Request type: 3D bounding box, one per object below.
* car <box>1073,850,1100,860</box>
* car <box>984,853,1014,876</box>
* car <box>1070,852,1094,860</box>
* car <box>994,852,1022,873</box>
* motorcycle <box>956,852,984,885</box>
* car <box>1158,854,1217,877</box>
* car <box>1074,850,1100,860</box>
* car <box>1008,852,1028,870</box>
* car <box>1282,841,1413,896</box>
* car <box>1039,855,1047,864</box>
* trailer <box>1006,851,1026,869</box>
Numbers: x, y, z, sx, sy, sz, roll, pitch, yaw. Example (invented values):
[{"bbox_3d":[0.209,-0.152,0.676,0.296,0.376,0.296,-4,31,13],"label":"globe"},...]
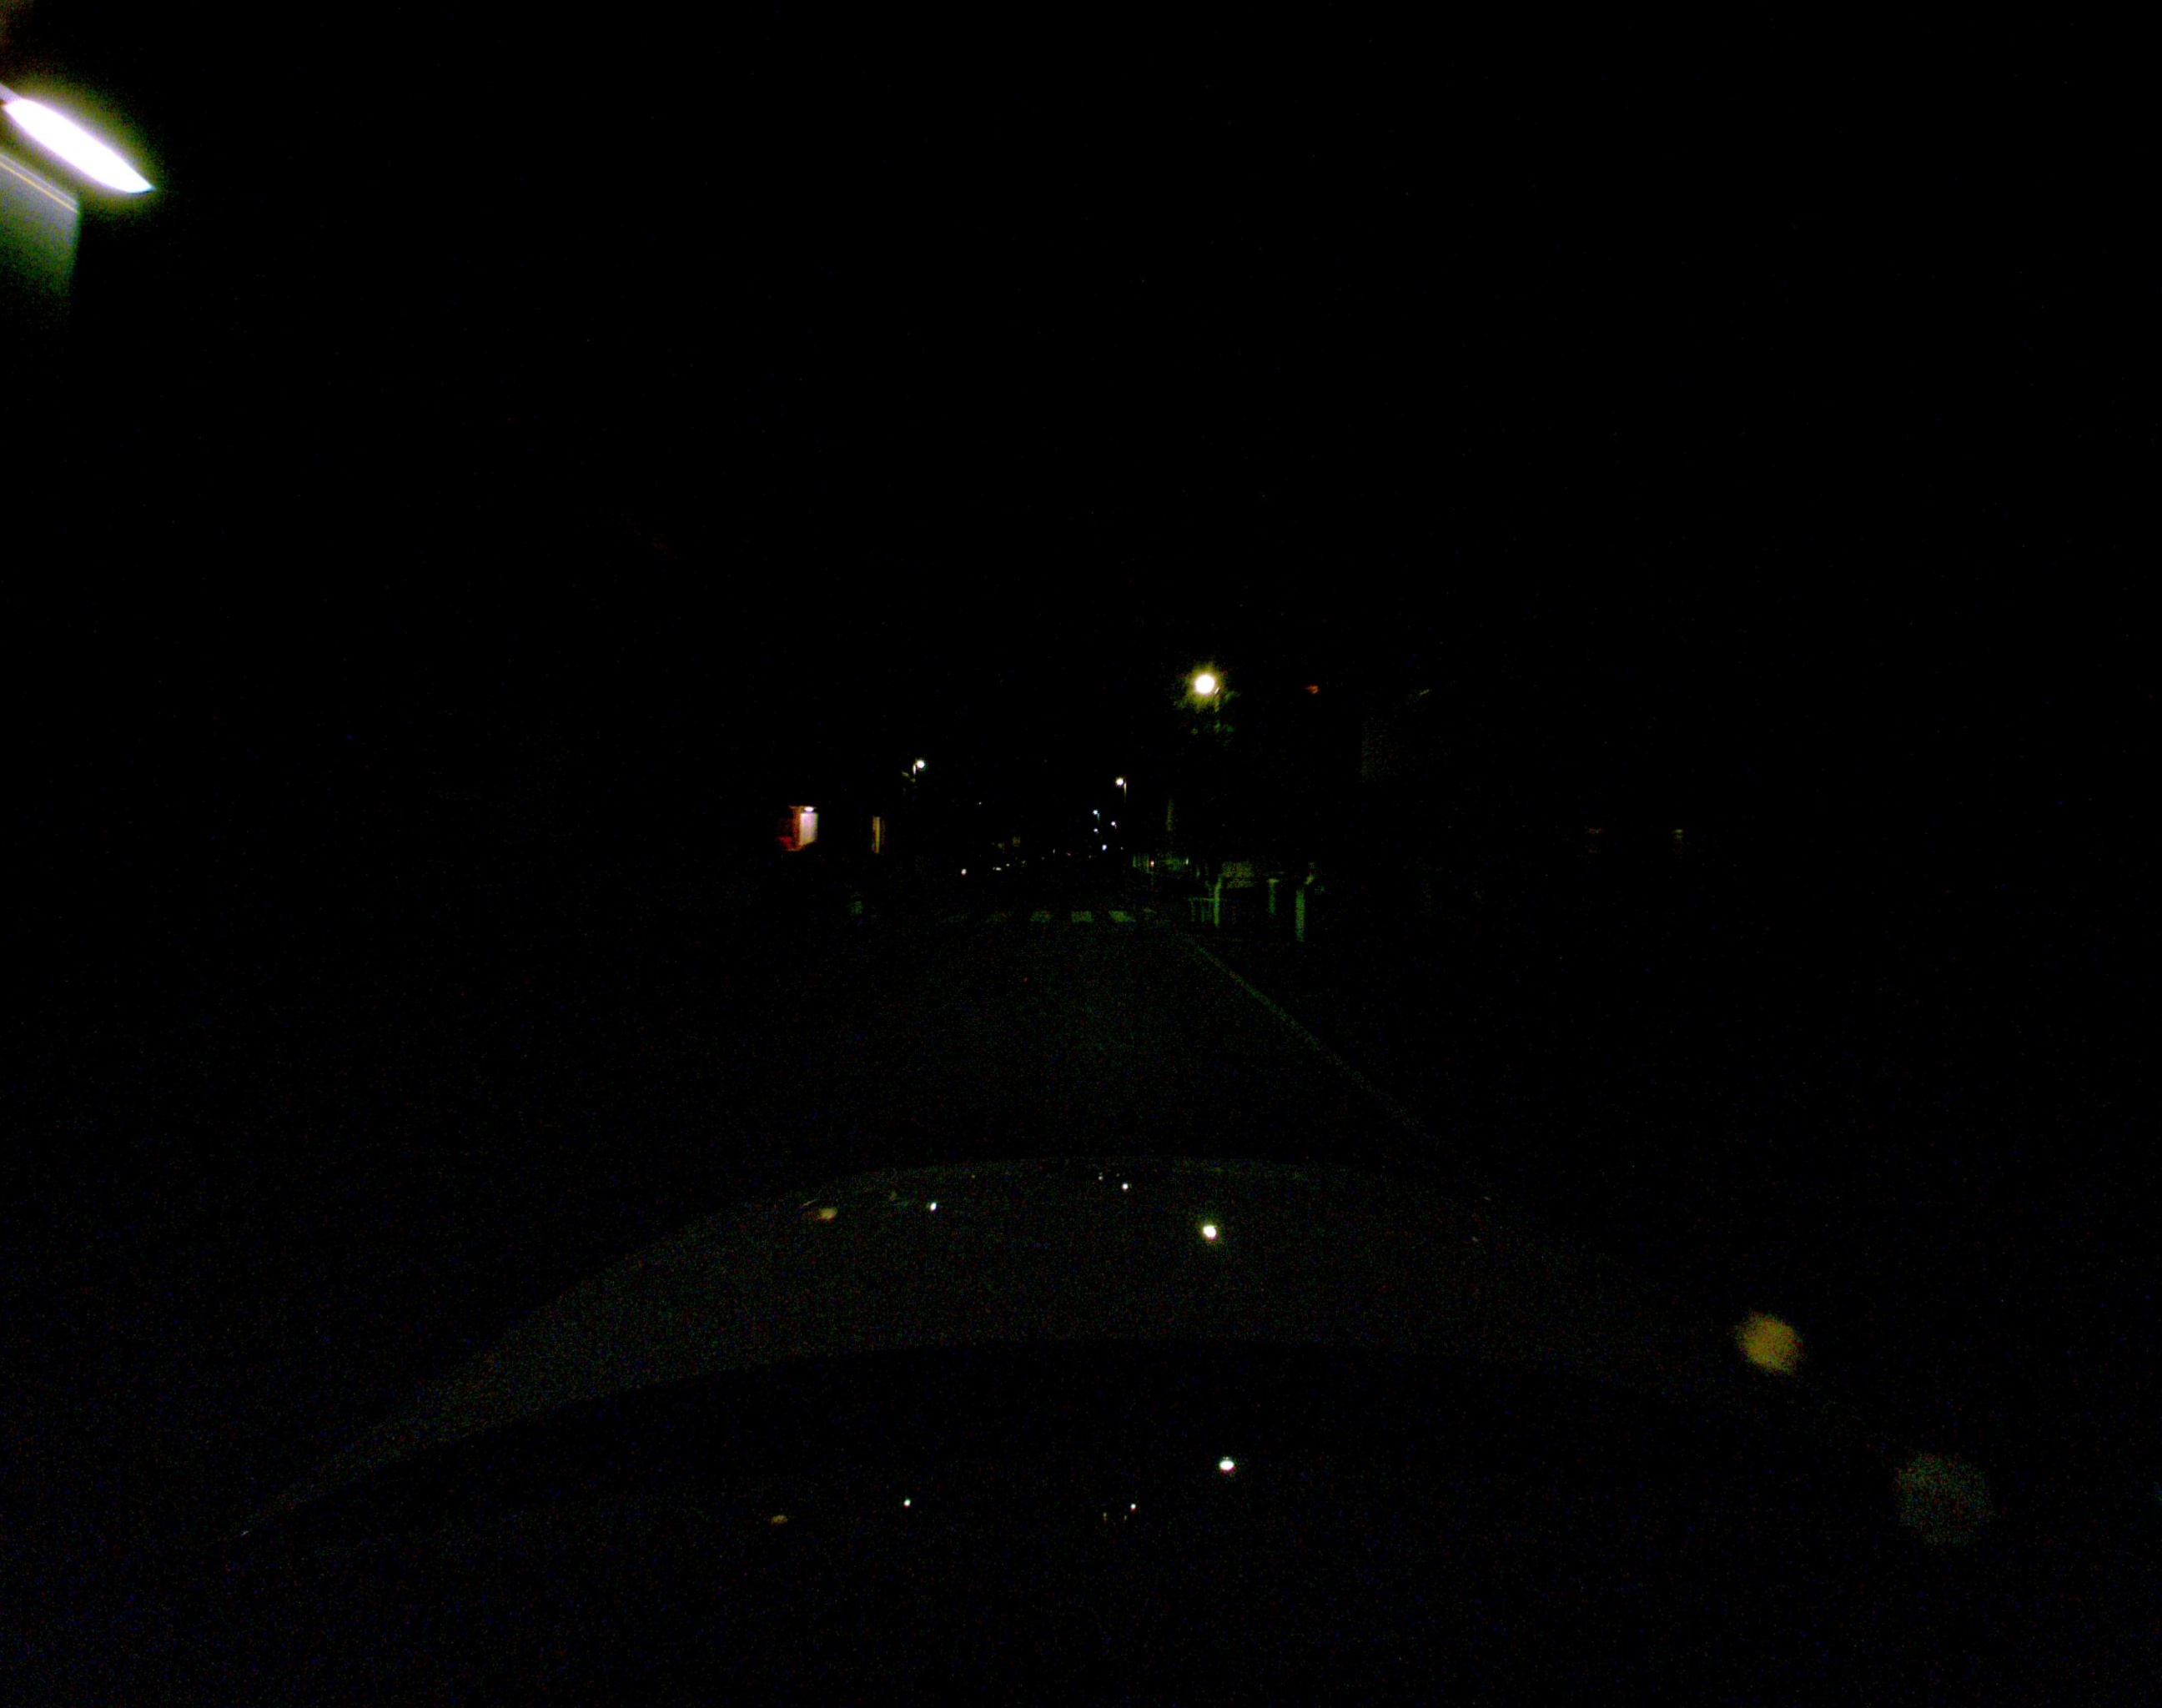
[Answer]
[{"bbox_3d":[1.052,0.207,161.946,5.171,2.013,2.099,-1,0,-3],"label":"car"},{"bbox_3d":[-5.630,0.668,56.266,1.683,1.510,4.277,1,0,-1],"label":"car"},{"bbox_3d":[0.305,0.485,186.791,5.154,1.887,2.106,-1,0,7],"label":"car"},{"bbox_3d":[-5.455,0.635,61.540,1.761,1.519,4.276,2,0,-2],"label":"car"},{"bbox_3d":[-5.087,0.653,37.437,0.742,1.452,2.200,0,0,7],"label":"motorcycle"},{"bbox_3d":[6.955,0.742,53.473,3.698,1.473,1.731,1,-1,1],"label":"car"},{"bbox_3d":[1.238,0.218,165.121,5.171,2.013,2.099,-1,0,-3],"label":"car"},{"bbox_3d":[-5.816,0.665,75.523,1.667,1.522,2.975,3,0,-3],"label":"car"},{"bbox_3d":[8.431,0.452,25.978,3.497,1.525,1.819,-3,0,-3],"label":"car"},{"bbox_3d":[-8.622,1.268,185.432,1.820,1.987,4.460,2,-2,-3],"label":"car"},{"bbox_3d":[-6.251,0.567,78.684,1.443,1.688,3.426,3,0,1],"label":"trailer"}]
